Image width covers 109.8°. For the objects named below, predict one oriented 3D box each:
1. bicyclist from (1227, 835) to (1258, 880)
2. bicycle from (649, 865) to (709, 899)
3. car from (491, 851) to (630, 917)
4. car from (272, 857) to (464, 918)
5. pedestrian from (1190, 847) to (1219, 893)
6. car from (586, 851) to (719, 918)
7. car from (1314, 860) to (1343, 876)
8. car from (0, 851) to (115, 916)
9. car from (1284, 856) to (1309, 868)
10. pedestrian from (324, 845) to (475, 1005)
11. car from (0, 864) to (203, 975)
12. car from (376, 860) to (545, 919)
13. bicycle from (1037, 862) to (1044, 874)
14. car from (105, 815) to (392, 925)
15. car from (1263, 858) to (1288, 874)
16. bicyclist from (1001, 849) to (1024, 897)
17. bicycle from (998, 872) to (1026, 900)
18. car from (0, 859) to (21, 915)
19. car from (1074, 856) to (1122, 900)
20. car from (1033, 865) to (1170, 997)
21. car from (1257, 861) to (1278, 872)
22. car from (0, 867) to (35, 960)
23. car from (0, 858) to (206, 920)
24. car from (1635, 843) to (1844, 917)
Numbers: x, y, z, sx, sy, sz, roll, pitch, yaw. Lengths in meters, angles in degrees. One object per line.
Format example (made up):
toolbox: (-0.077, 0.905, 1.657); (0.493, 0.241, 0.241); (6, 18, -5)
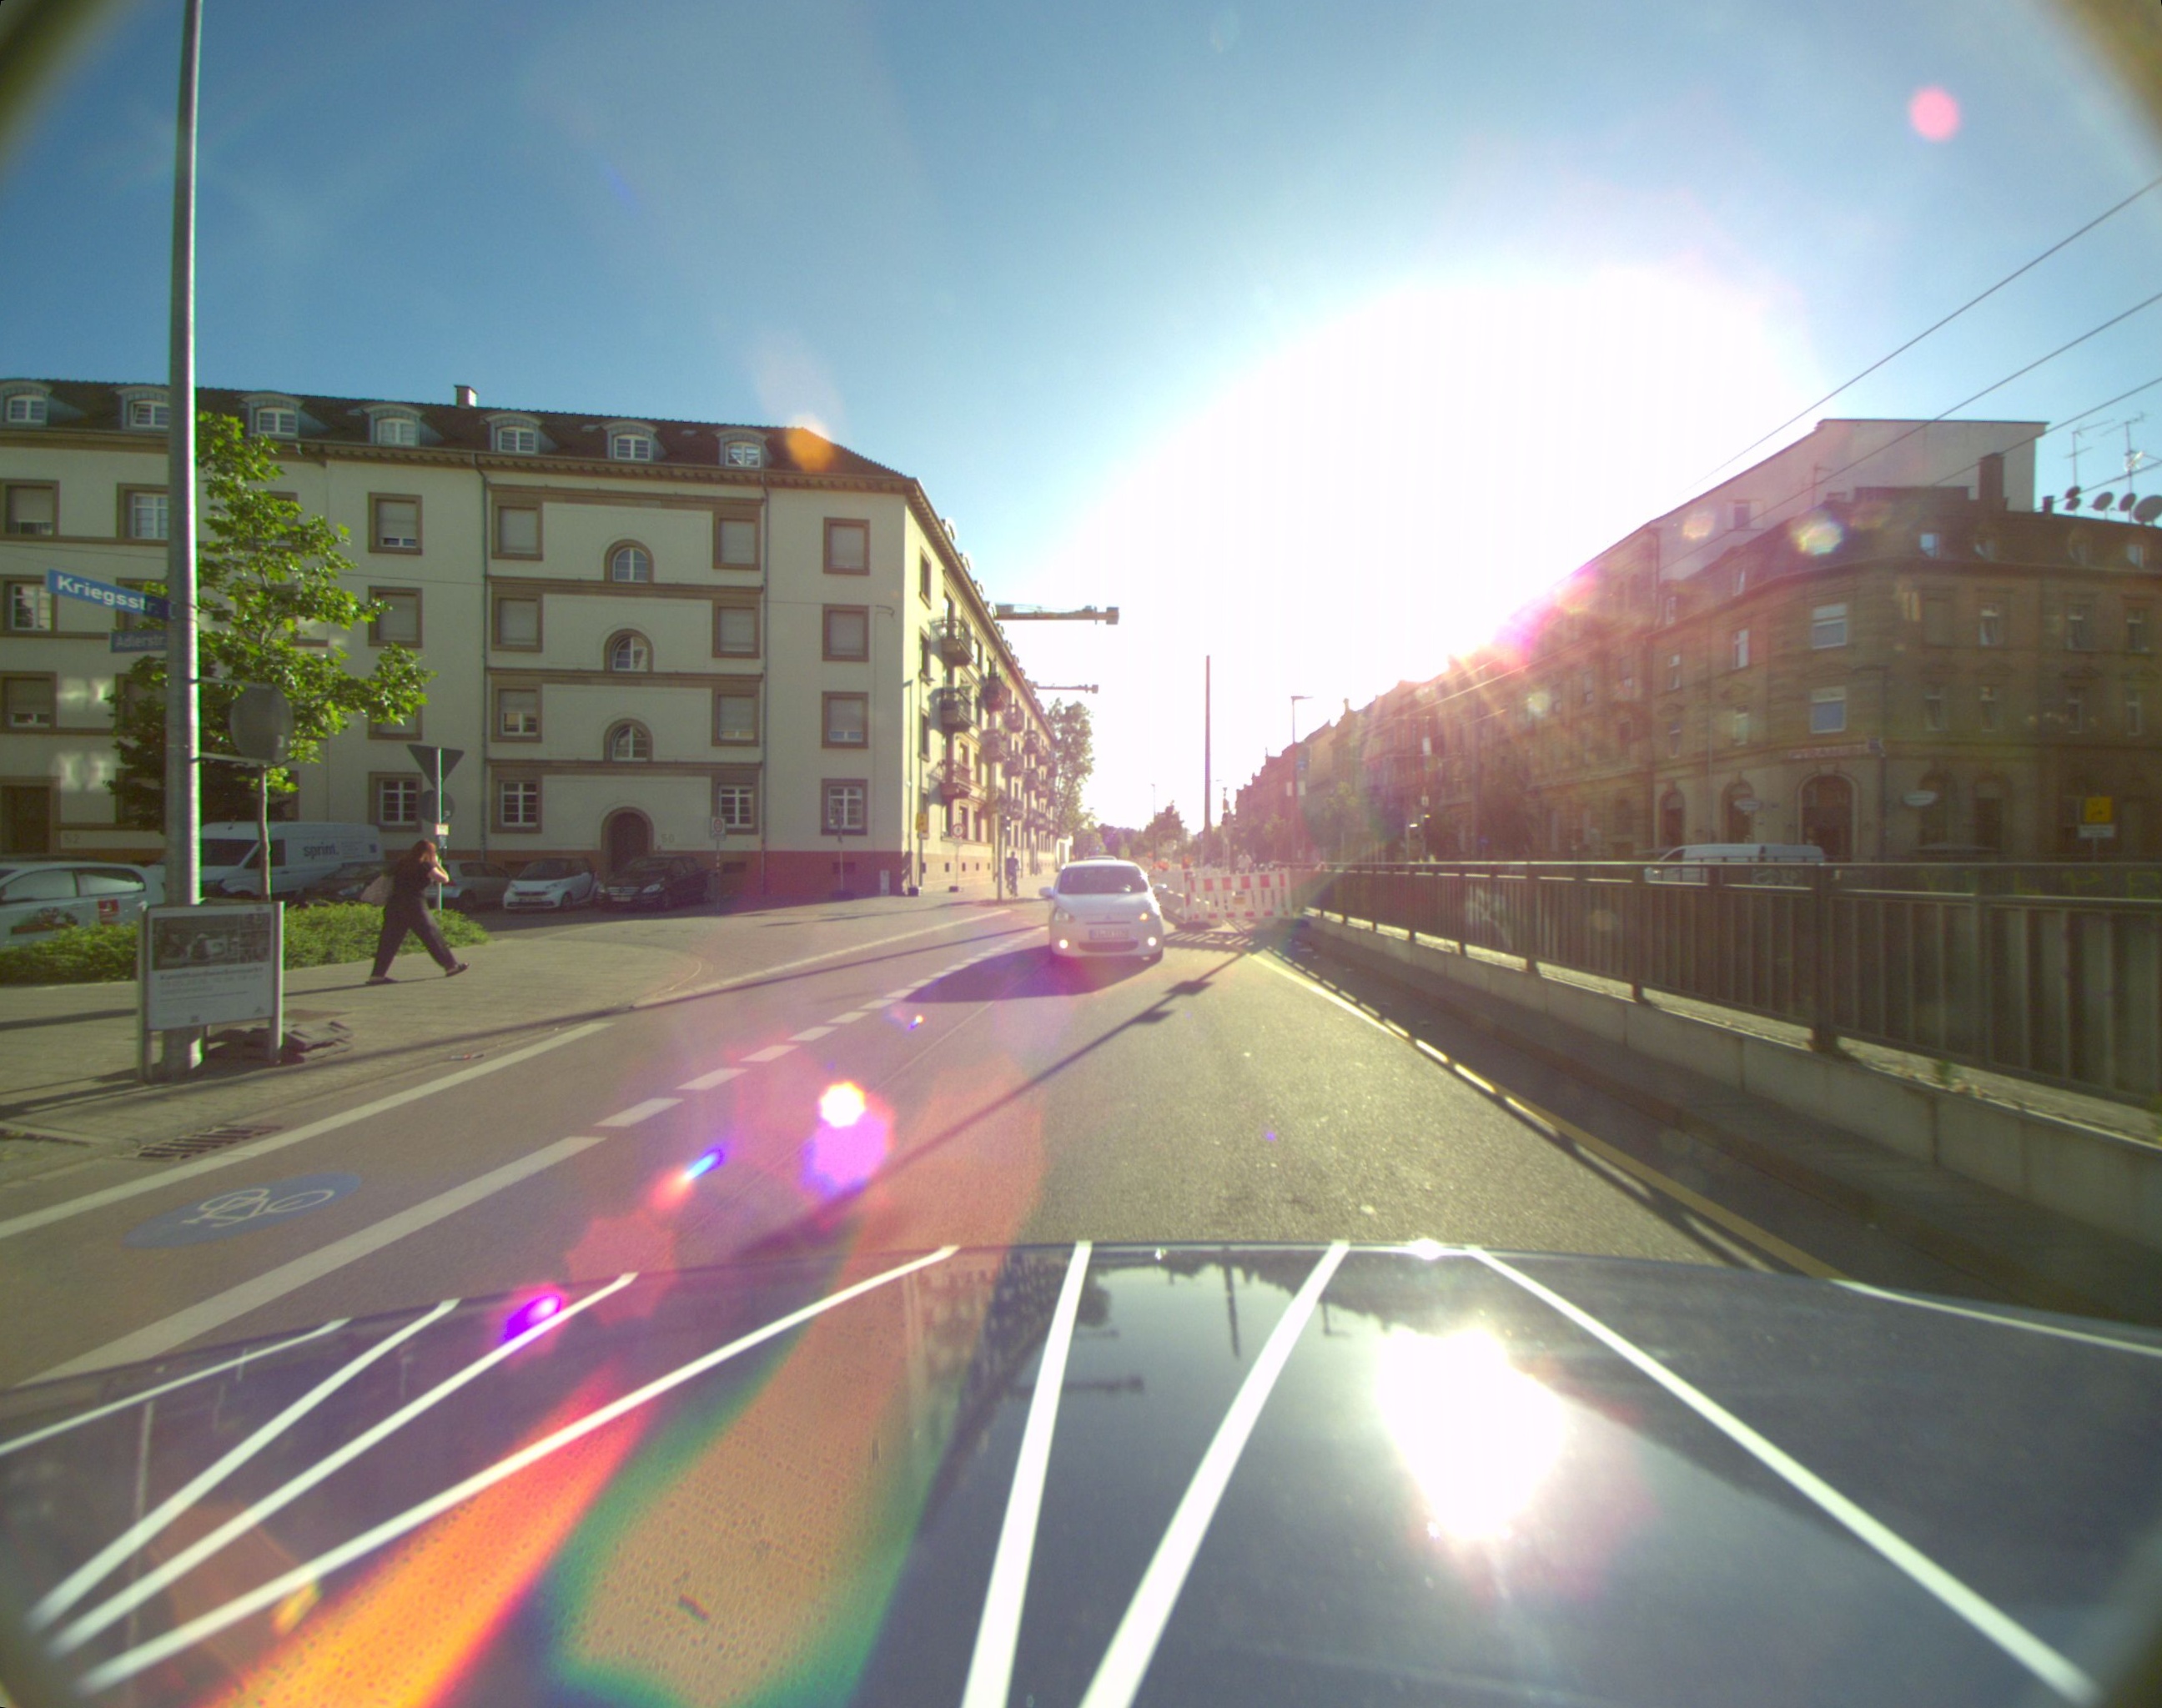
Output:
bicyclist: (6.406, 0.153, 30.217); (0.886, 1.763, 0.854); (0, 0, -23)
bicycle: (-14.000, 0.952, 26.485); (1.811, 1.158, 0.406); (0, 1, -11)
car: (-15.337, 0.796, 22.714); (1.628, 1.677, 4.435); (-1, 1, -9)
car: (-20.318, 0.879, 21.964); (1.697, 1.470, 4.436); (-2, 1, -7)
pedestrian: (3.941, 0.508, 24.380); (0.791, 1.449, 0.947); (0, 0, 1)
car: (-12.638, 0.810, 22.757); (1.697, 1.677, 4.436); (-2, 2, -5)
car: (26.556, 1.508, 81.773); (1.942, 1.648, 4.546); (-2, -1, 5)
car: (-29.242, 0.803, 20.425); (1.543, 1.729, 3.999); (-2, 0, -4)
car: (26.970, 0.997, 95.332); (1.998, 1.429, 4.309); (-1, 0, 2)
pedestrian: (-8.142, 0.788, 9.107); (0.884, 1.753, 1.107); (2, 1, 28)
car: (-15.242, 0.898, 10.676); (1.668, 1.465, 3.834); (-2, -1, -9)
car: (-17.842, 0.936, 22.164); (1.698, 1.421, 4.436); (-2, 1, -8)
bicycle: (-3.748, 1.248, 70.494); (0.419, 1.089, 2.199); (0, 0, 3)
car: (-22.490, 0.285, 21.063); (1.929, 2.595, 5.956); (0, 2, -8)
car: (20.803, 1.229, 81.255); (1.800, 1.630, 4.478); (0, 0, 4)
bicyclist: (-2.550, 0.701, 28.222); (0.734, 1.752, 0.938); (0, 0, 2)
bicycle: (-2.554, 1.177, 28.255); (0.769, 0.947, 2.198); (0, 0, 2)
car: (-31.655, 0.943, 20.085); (1.695, 1.606, 3.999); (-2, 0, -3)
car: (0.730, 0.957, 31.913); (1.899, 1.730, 4.001); (-1, 0, 2)
car: (0.368, 0.988, 11.550); (1.633, 1.499, 4.351); (-2, 0, 3)
car: (27.117, 1.841, 110.741); (1.998, 1.529, 4.986); (-2, -1, 3)
car: (-17.498, 0.927, 10.334); (1.637, 1.444, 3.654); (-2, 0, -7)
car: (-26.767, 0.892, 20.487); (1.694, 1.481, 4.000); (-2, -1, 0)
car: (18.727, 0.695, 21.967); (1.998, 1.869, 4.584); (-2, 0, 0)
